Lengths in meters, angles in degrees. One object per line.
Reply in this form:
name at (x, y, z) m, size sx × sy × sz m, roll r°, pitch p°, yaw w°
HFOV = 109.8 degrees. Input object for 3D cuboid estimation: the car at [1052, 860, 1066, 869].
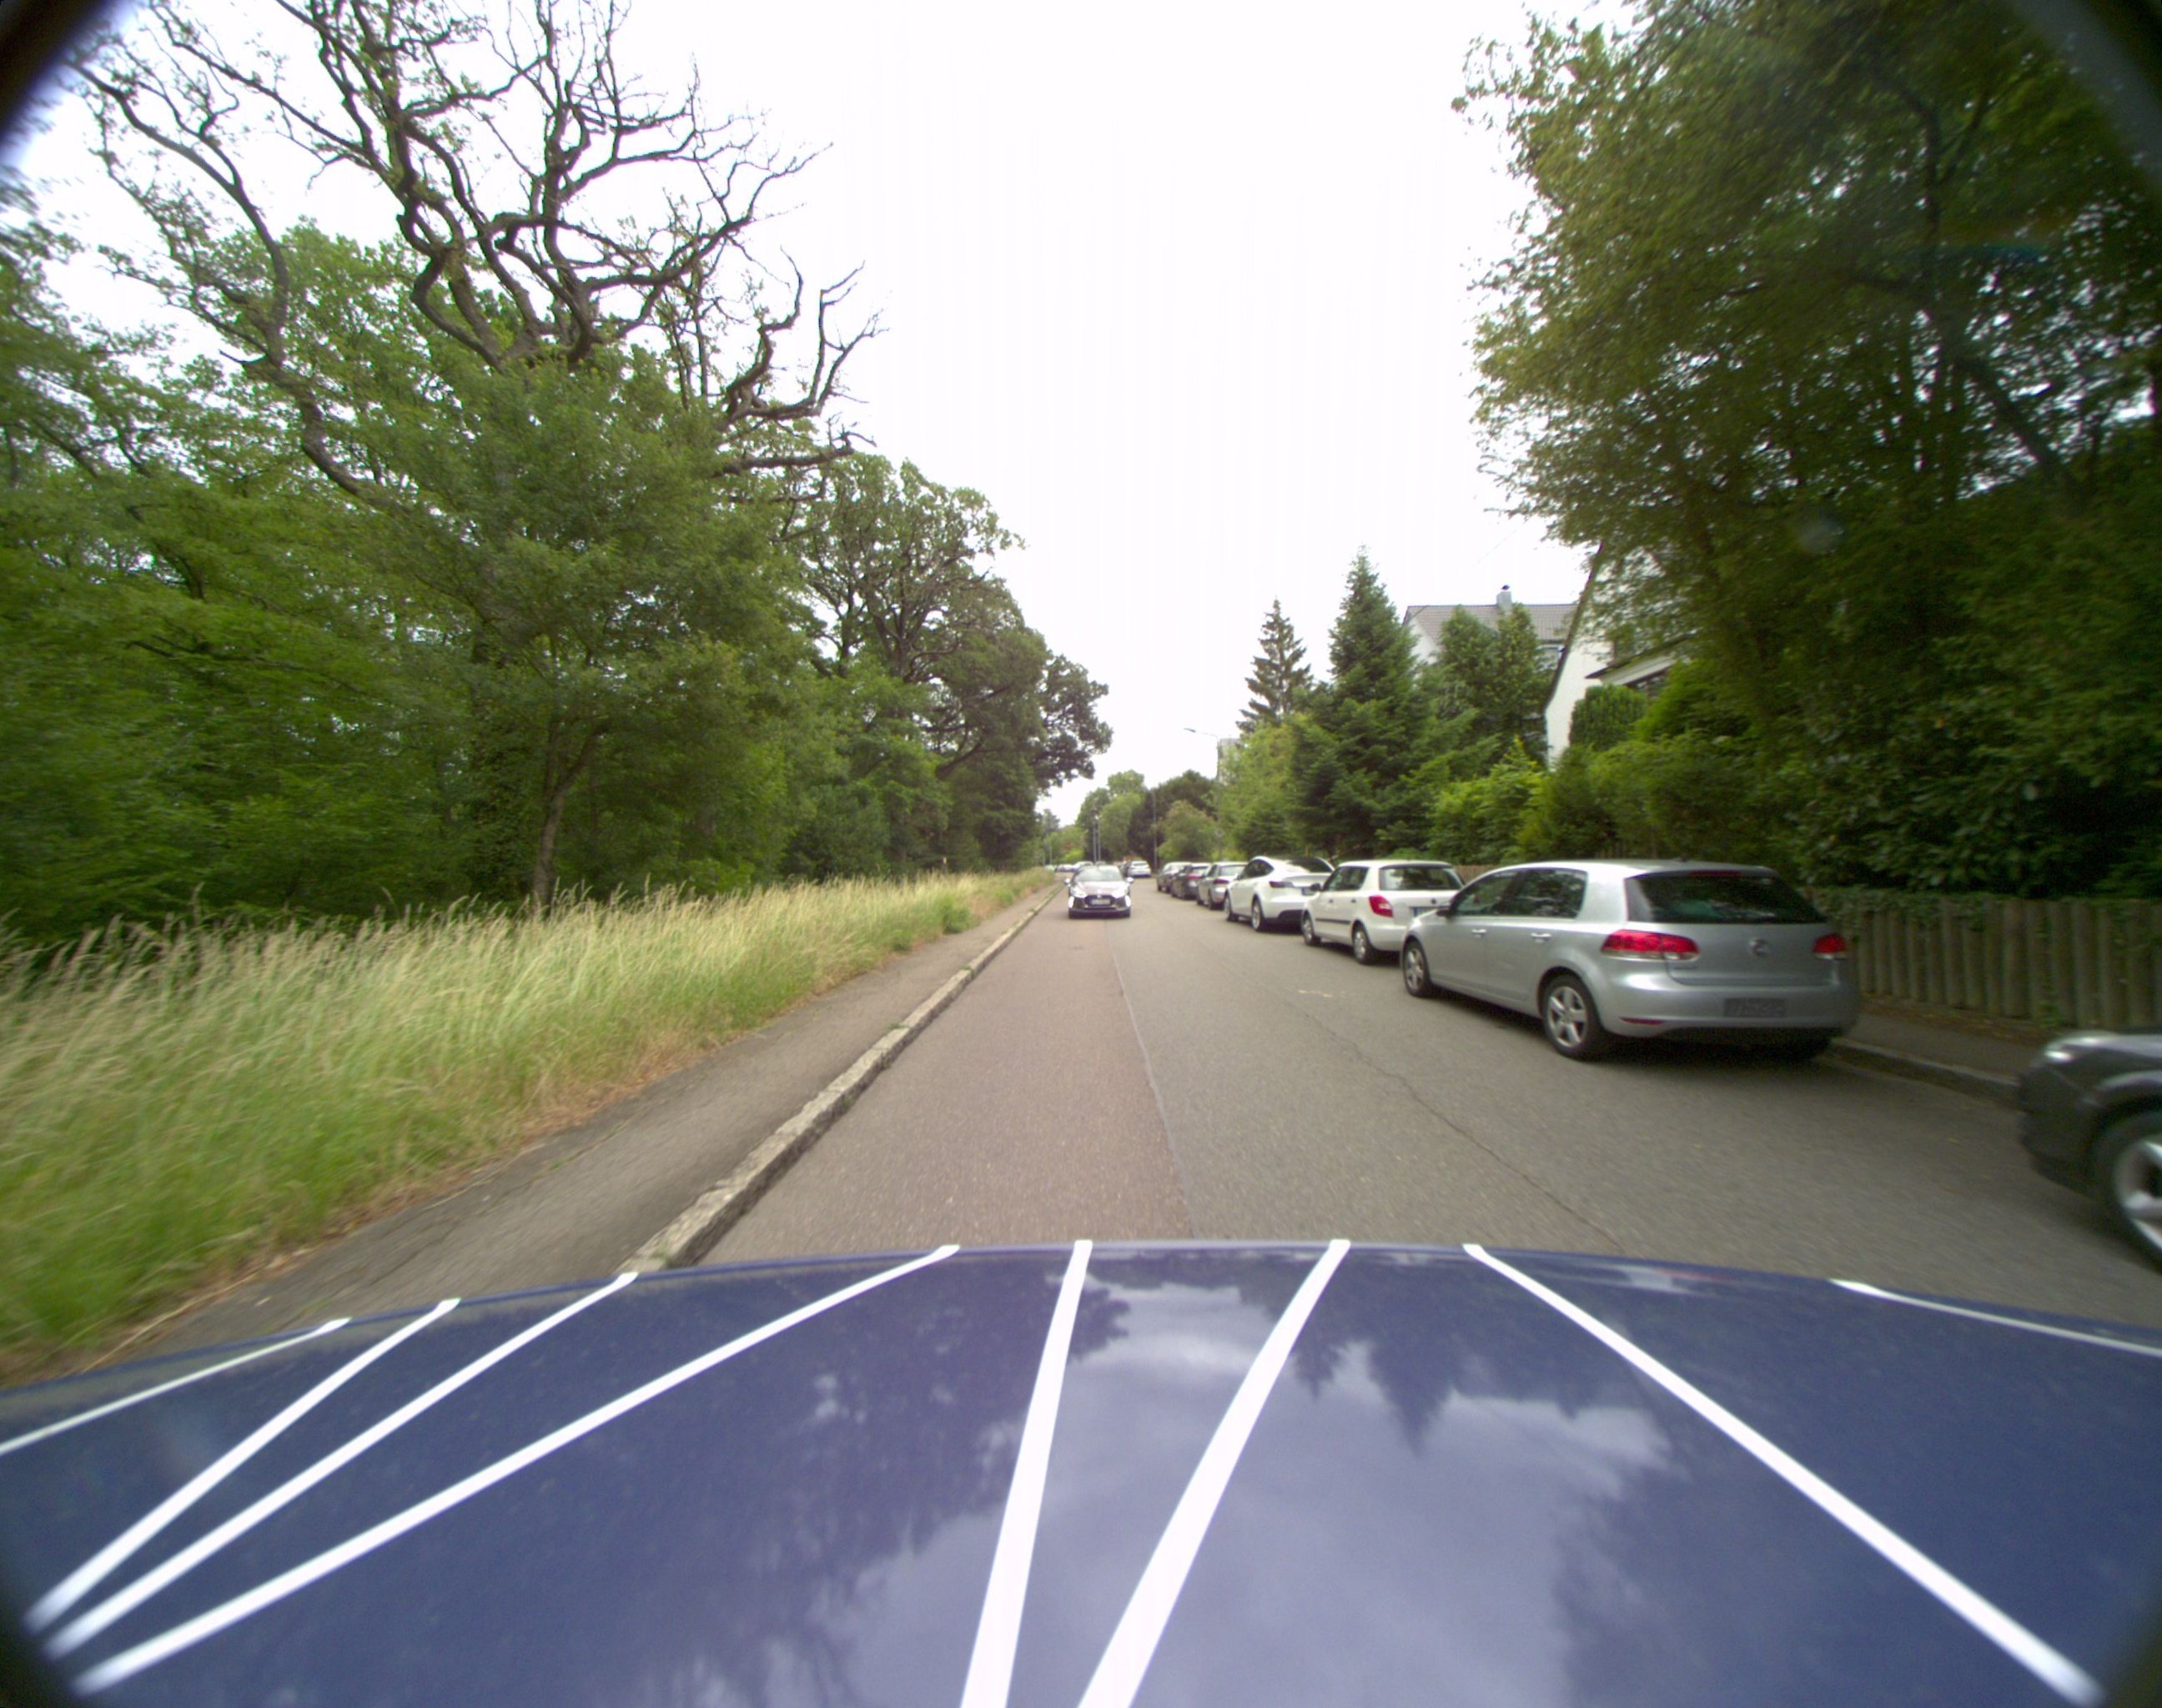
car at (-4.567, 2.187, 156.969) m, size 2.000 × 1.678 × 4.707 m, roll -2°, pitch -1°, yaw -10°

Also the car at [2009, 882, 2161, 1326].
car at (4.543, 0.859, 0.980) m, size 1.725 × 1.496 × 4.060 m, roll 0°, pitch 0°, yaw 0°

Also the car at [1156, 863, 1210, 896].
car at (4.767, 1.153, 36.196) m, size 1.853 × 1.431 × 4.910 m, roll -1°, pitch 0°, yaw -1°

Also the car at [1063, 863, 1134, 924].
car at (0.426, 1.059, 21.855) m, size 1.788 × 1.491 × 4.015 m, roll -3°, pitch 0°, yaw -1°

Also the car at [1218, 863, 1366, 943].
car at (4.548, 0.990, 17.162) m, size 1.921 × 1.552 × 4.603 m, roll 1°, pitch -1°, yaw -2°

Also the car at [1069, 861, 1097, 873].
car at (0.393, 2.051, 122.416) m, size 1.995 × 1.678 × 4.720 m, roll -3°, pitch -1°, yaw 36°

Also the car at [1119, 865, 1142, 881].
car at (4.854, 1.809, 74.627) m, size 1.788 × 1.430 × 4.323 m, roll -3°, pitch -1°, yaw -2°

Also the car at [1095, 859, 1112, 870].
car at (3.099, 1.490, 104.512) m, size 1.765 × 1.441 × 4.042 m, roll -2°, pitch -1°, yaw -6°

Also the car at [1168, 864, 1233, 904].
car at (4.676, 1.125, 30.271) m, size 1.739 × 1.431 × 4.262 m, roll -1°, pitch 0°, yaw -2°

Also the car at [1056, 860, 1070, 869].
car at (-3.624, 2.008, 151.257) m, size 2.000 × 1.678 × 4.707 m, roll -2°, pitch -1°, yaw -10°

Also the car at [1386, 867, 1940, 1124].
car at (4.349, 0.898, 6.623) m, size 1.725 × 1.496 × 4.008 m, roll 0°, pitch 0°, yaw 0°

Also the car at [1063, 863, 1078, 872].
car at (-1.967, 2.495, 143.040) m, size 2.000 × 1.678 × 4.707 m, roll -2°, pitch -1°, yaw -10°

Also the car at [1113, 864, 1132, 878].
car at (4.650, 1.908, 85.283) m, size 1.741 × 1.430 × 3.787 m, roll -2°, pitch -1°, yaw -2°

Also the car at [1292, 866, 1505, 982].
car at (4.733, 0.954, 11.962) m, size 1.725 × 1.496 × 3.817 m, roll 0°, pitch 0°, yaw -1°

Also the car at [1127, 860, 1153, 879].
car at (4.947, 1.305, 64.277) m, size 1.788 × 1.491 × 4.015 m, roll -2°, pitch 0°, yaw -1°

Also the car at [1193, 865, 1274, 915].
car at (4.815, 1.089, 24.538) m, size 1.839 × 1.431 × 4.117 m, roll 0°, pitch 0°, yaw 1°
